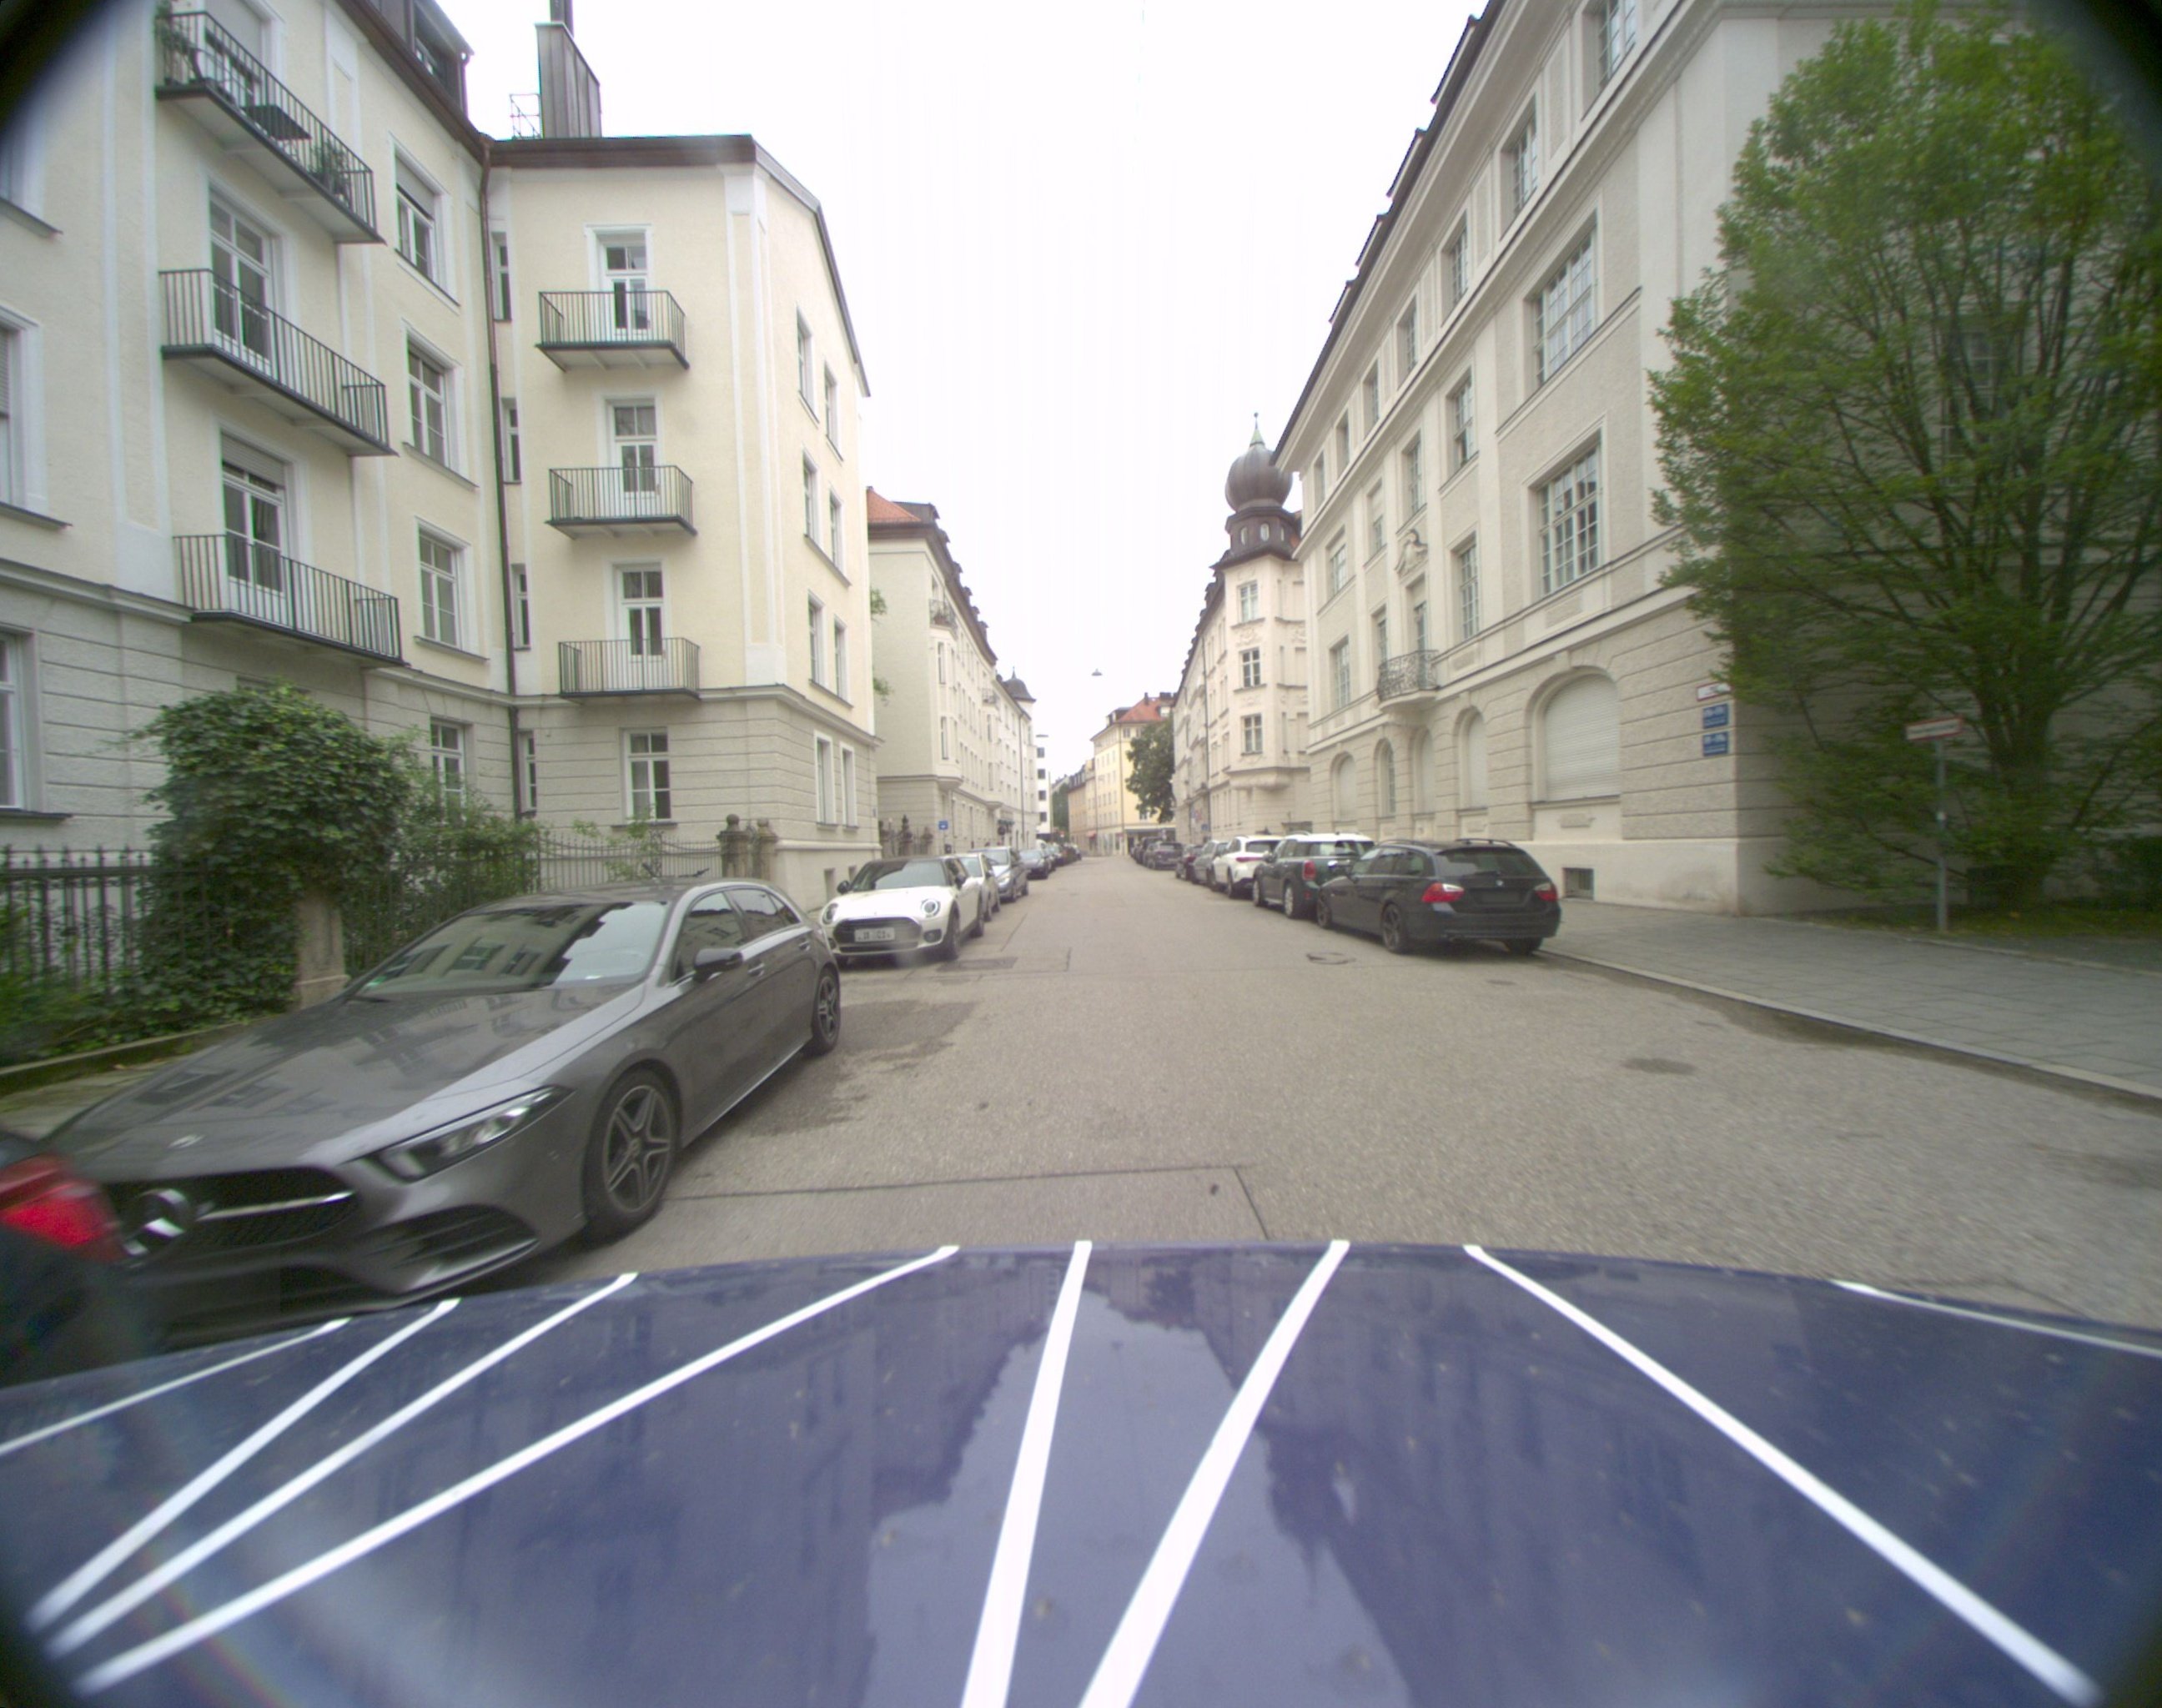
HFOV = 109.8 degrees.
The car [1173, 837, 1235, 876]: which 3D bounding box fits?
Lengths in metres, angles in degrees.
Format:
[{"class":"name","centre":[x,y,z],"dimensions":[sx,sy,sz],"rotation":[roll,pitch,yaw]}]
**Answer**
[{"class":"car","centre":[4.851,0.048,30.501],"dimensions":[1.797,1.407,4.277],"rotation":[0,2,0]}]

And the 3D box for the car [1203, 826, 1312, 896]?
[{"class":"car","centre":[4.623,0.128,20.567],"dimensions":[1.920,1.609,4.570],"rotation":[-2,1,1]}]

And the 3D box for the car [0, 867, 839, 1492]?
[{"class":"car","centre":[-2.768,0.944,4.077],"dimensions":[1.688,1.496,4.016],"rotation":[-3,2,-2]}]

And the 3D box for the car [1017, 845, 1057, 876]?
[{"class":"car","centre":[-2.395,0.307,41.990],"dimensions":[1.765,1.477,4.420],"rotation":[-5,1,1]}]

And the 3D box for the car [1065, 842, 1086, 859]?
[{"class":"car","centre":[-0.550,-0.397,80.351],"dimensions":[1.841,1.609,4.094],"rotation":[-4,1,3]}]

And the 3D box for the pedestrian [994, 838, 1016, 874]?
[{"class":"pedestrian","centre":[-3.885,0.101,38.951],"dimensions":[0.885,1.801,1.111],"rotation":[-2,2,5]}]

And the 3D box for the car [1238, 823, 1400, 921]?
[{"class":"car","centre":[4.501,0.273,15.072],"dimensions":[1.841,1.609,4.243],"rotation":[-2,1,0]}]

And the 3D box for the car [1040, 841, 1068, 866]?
[{"class":"car","centre":[-1.980,-0.087,56.629],"dimensions":[1.804,1.665,4.188],"rotation":[-5,1,0]}]

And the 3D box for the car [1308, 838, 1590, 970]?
[{"class":"car","centre":[4.730,0.519,10.590],"dimensions":[1.791,1.404,4.366],"rotation":[-2,1,0]}]

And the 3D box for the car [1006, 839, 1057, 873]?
[{"class":"car","centre":[-2.347,0.042,37.179],"dimensions":[1.998,1.449,4.712],"rotation":[-2,1,2]}]

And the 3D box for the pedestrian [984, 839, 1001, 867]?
[{"class":"pedestrian","centre":[-5.874,-0.067,50.322],"dimensions":[0.885,1.803,1.111],"rotation":[-2,2,2]}]

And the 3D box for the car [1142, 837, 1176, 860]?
[{"class":"car","centre":[4.893,-0.373,48.036],"dimensions":[1.841,1.386,4.244],"rotation":[0,1,2]}]

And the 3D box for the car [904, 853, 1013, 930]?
[{"class":"car","centre":[-2.618,0.750,17.010],"dimensions":[1.758,1.398,3.450],"rotation":[-3,2,1]}]

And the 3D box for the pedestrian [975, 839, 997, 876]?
[{"class":"pedestrian","centre":[-4.716,0.162,37.831],"dimensions":[0.885,1.776,1.111],"rotation":[-2,2,1]}]

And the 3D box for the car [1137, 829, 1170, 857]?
[{"class":"car","centre":[5.009,-0.777,53.153],"dimensions":[1.841,1.884,4.762],"rotation":[0,1,0]}]

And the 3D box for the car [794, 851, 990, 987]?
[{"class":"car","centre":[-2.559,0.791,11.352],"dimensions":[1.789,1.496,4.064],"rotation":[-3,2,1]}]

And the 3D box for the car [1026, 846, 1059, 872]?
[{"class":"car","centre":[-2.396,0.270,47.429],"dimensions":[1.841,1.391,4.972],"rotation":[-4,1,-2]}]

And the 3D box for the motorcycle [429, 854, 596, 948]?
[{"class":"motorcycle","centre":[-7.426,0.562,10.068],"dimensions":[0.608,1.106,1.965],"rotation":[-1,1,4]}]

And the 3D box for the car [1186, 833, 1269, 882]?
[{"class":"car","centre":[4.866,0.069,25.805],"dimensions":[1.787,1.532,4.255],"rotation":[0,2,-3]}]

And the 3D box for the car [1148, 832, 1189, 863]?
[{"class":"car","centre":[4.756,-0.379,41.727],"dimensions":[1.731,1.609,4.120],"rotation":[0,2,-1]}]

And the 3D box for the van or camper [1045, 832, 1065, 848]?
[{"class":"van or camper","centre":[-4.252,-2.295,123.732],"dimensions":[1.968,2.495,5.716],"rotation":[-2,1,-13]}]

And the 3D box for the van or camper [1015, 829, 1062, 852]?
[{"class":"van or camper","centre":[-5.604,-1.703,99.465],"dimensions":[5.869,2.697,2.304],"rotation":[-2,-1,-6]}]

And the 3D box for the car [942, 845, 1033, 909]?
[{"class":"car","centre":[-2.640,0.589,22.528],"dimensions":[1.826,1.560,4.400],"rotation":[-4,1,3]}]
